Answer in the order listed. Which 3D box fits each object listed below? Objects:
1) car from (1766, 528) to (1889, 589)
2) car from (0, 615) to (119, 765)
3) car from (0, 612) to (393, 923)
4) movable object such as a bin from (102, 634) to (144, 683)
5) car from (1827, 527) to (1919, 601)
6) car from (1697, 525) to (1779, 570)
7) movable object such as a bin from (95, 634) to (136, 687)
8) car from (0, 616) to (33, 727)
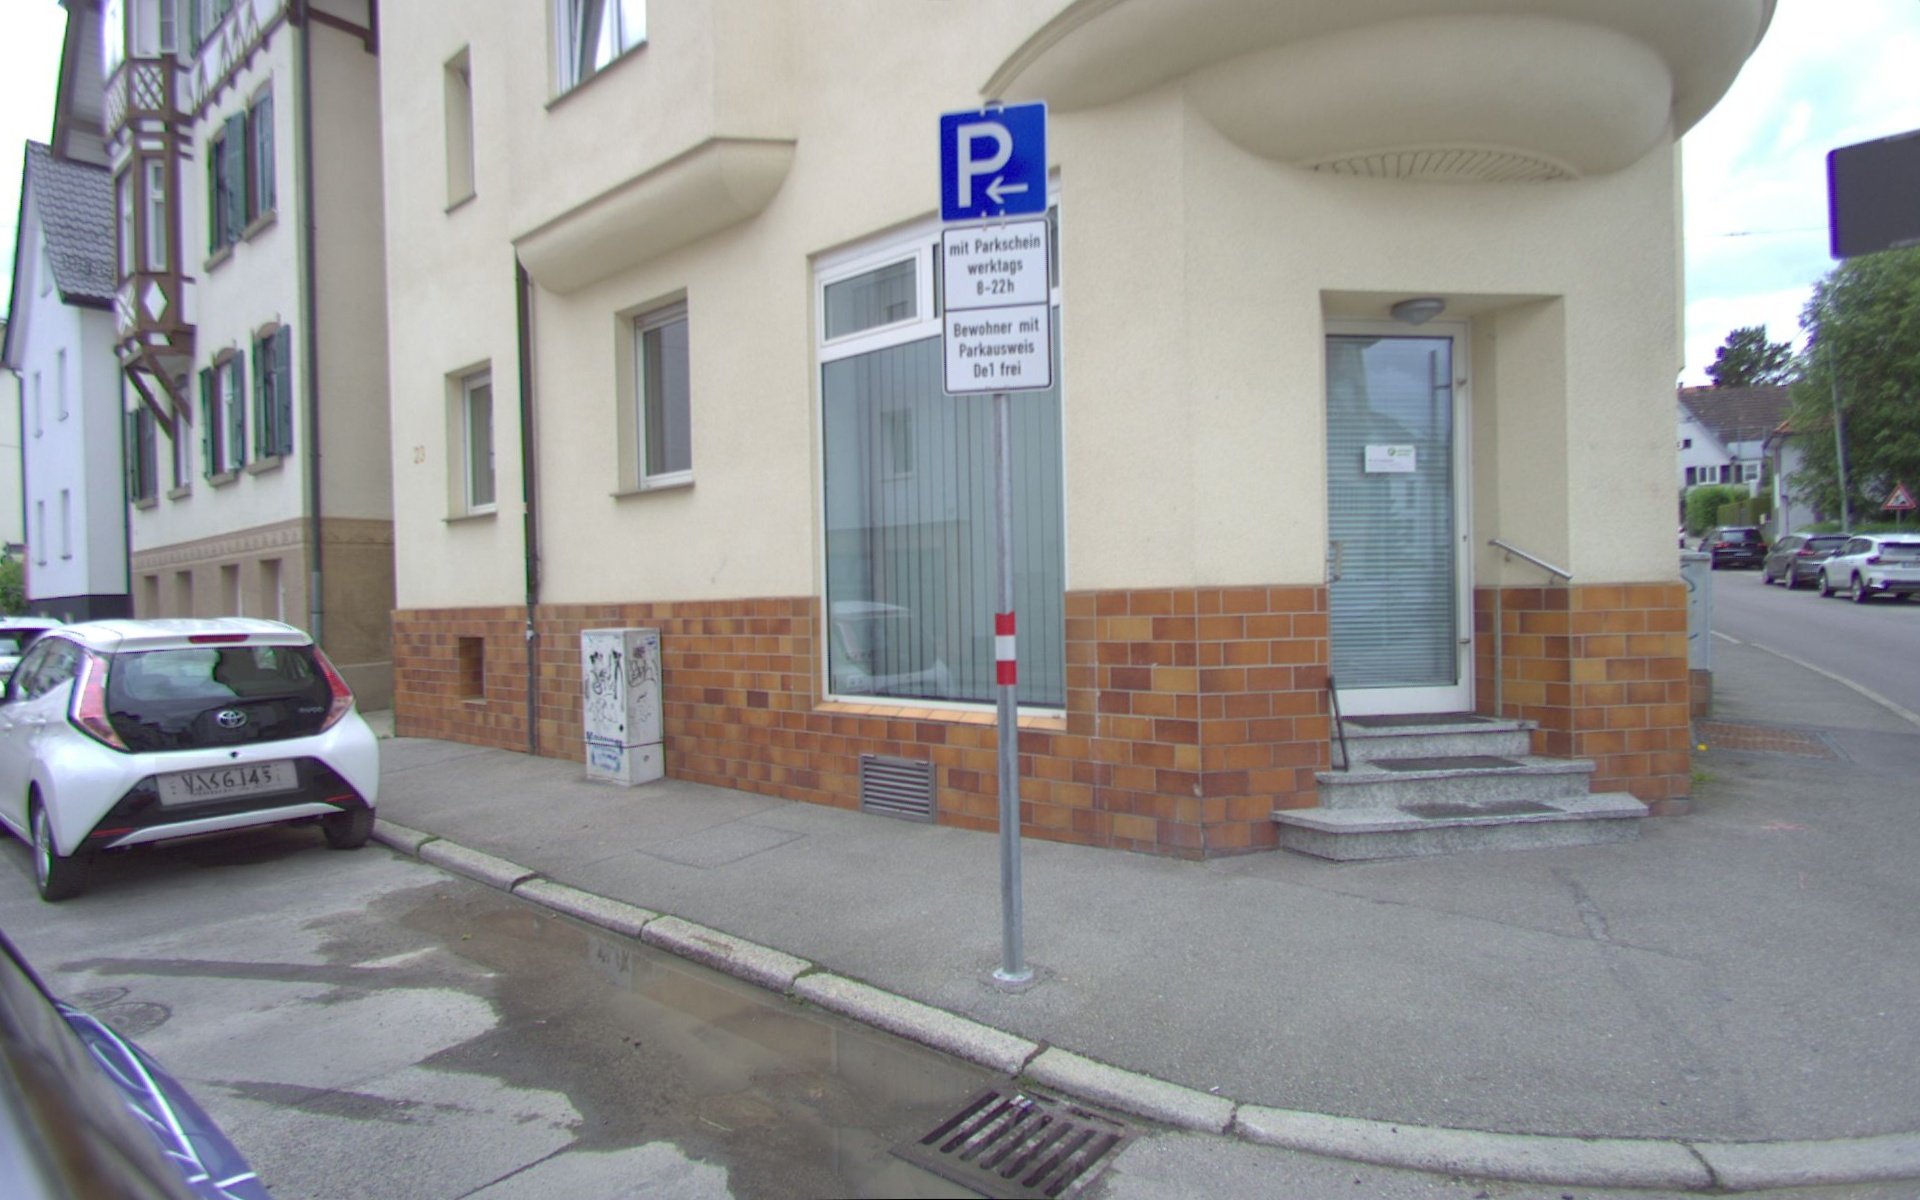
[{"bbox_3d":[25.718,-1.266,30.158,1.846,1.662,3.911,0,3,26],"label":"car"},{"bbox_3d":[-11.150,0.909,11.463,4.366,1.443,1.734,0,-1,40],"label":"car"},{"bbox_3d":[-5.425,0.829,6.745,3.813,1.444,1.650,0,0,40],"label":"car"},{"bbox_3d":[-16.619,1.152,20.095,0.603,0.939,0.508,-1,1,40],"label":"movable object such as a bin"},{"bbox_3d":[22.661,-0.868,24.404,1.848,1.663,3.908,0,2,28],"label":"car"},{"bbox_3d":[30.812,-2.092,40.190,1.846,1.662,3.911,0,3,26],"label":"car"},{"bbox_3d":[-17.148,1.218,20.544,0.603,1.023,0.508,-1,1,40],"label":"movable object such as a bin"},{"bbox_3d":[-15.007,0.976,14.728,4.368,1.467,1.733,0,-1,41],"label":"car"}]
